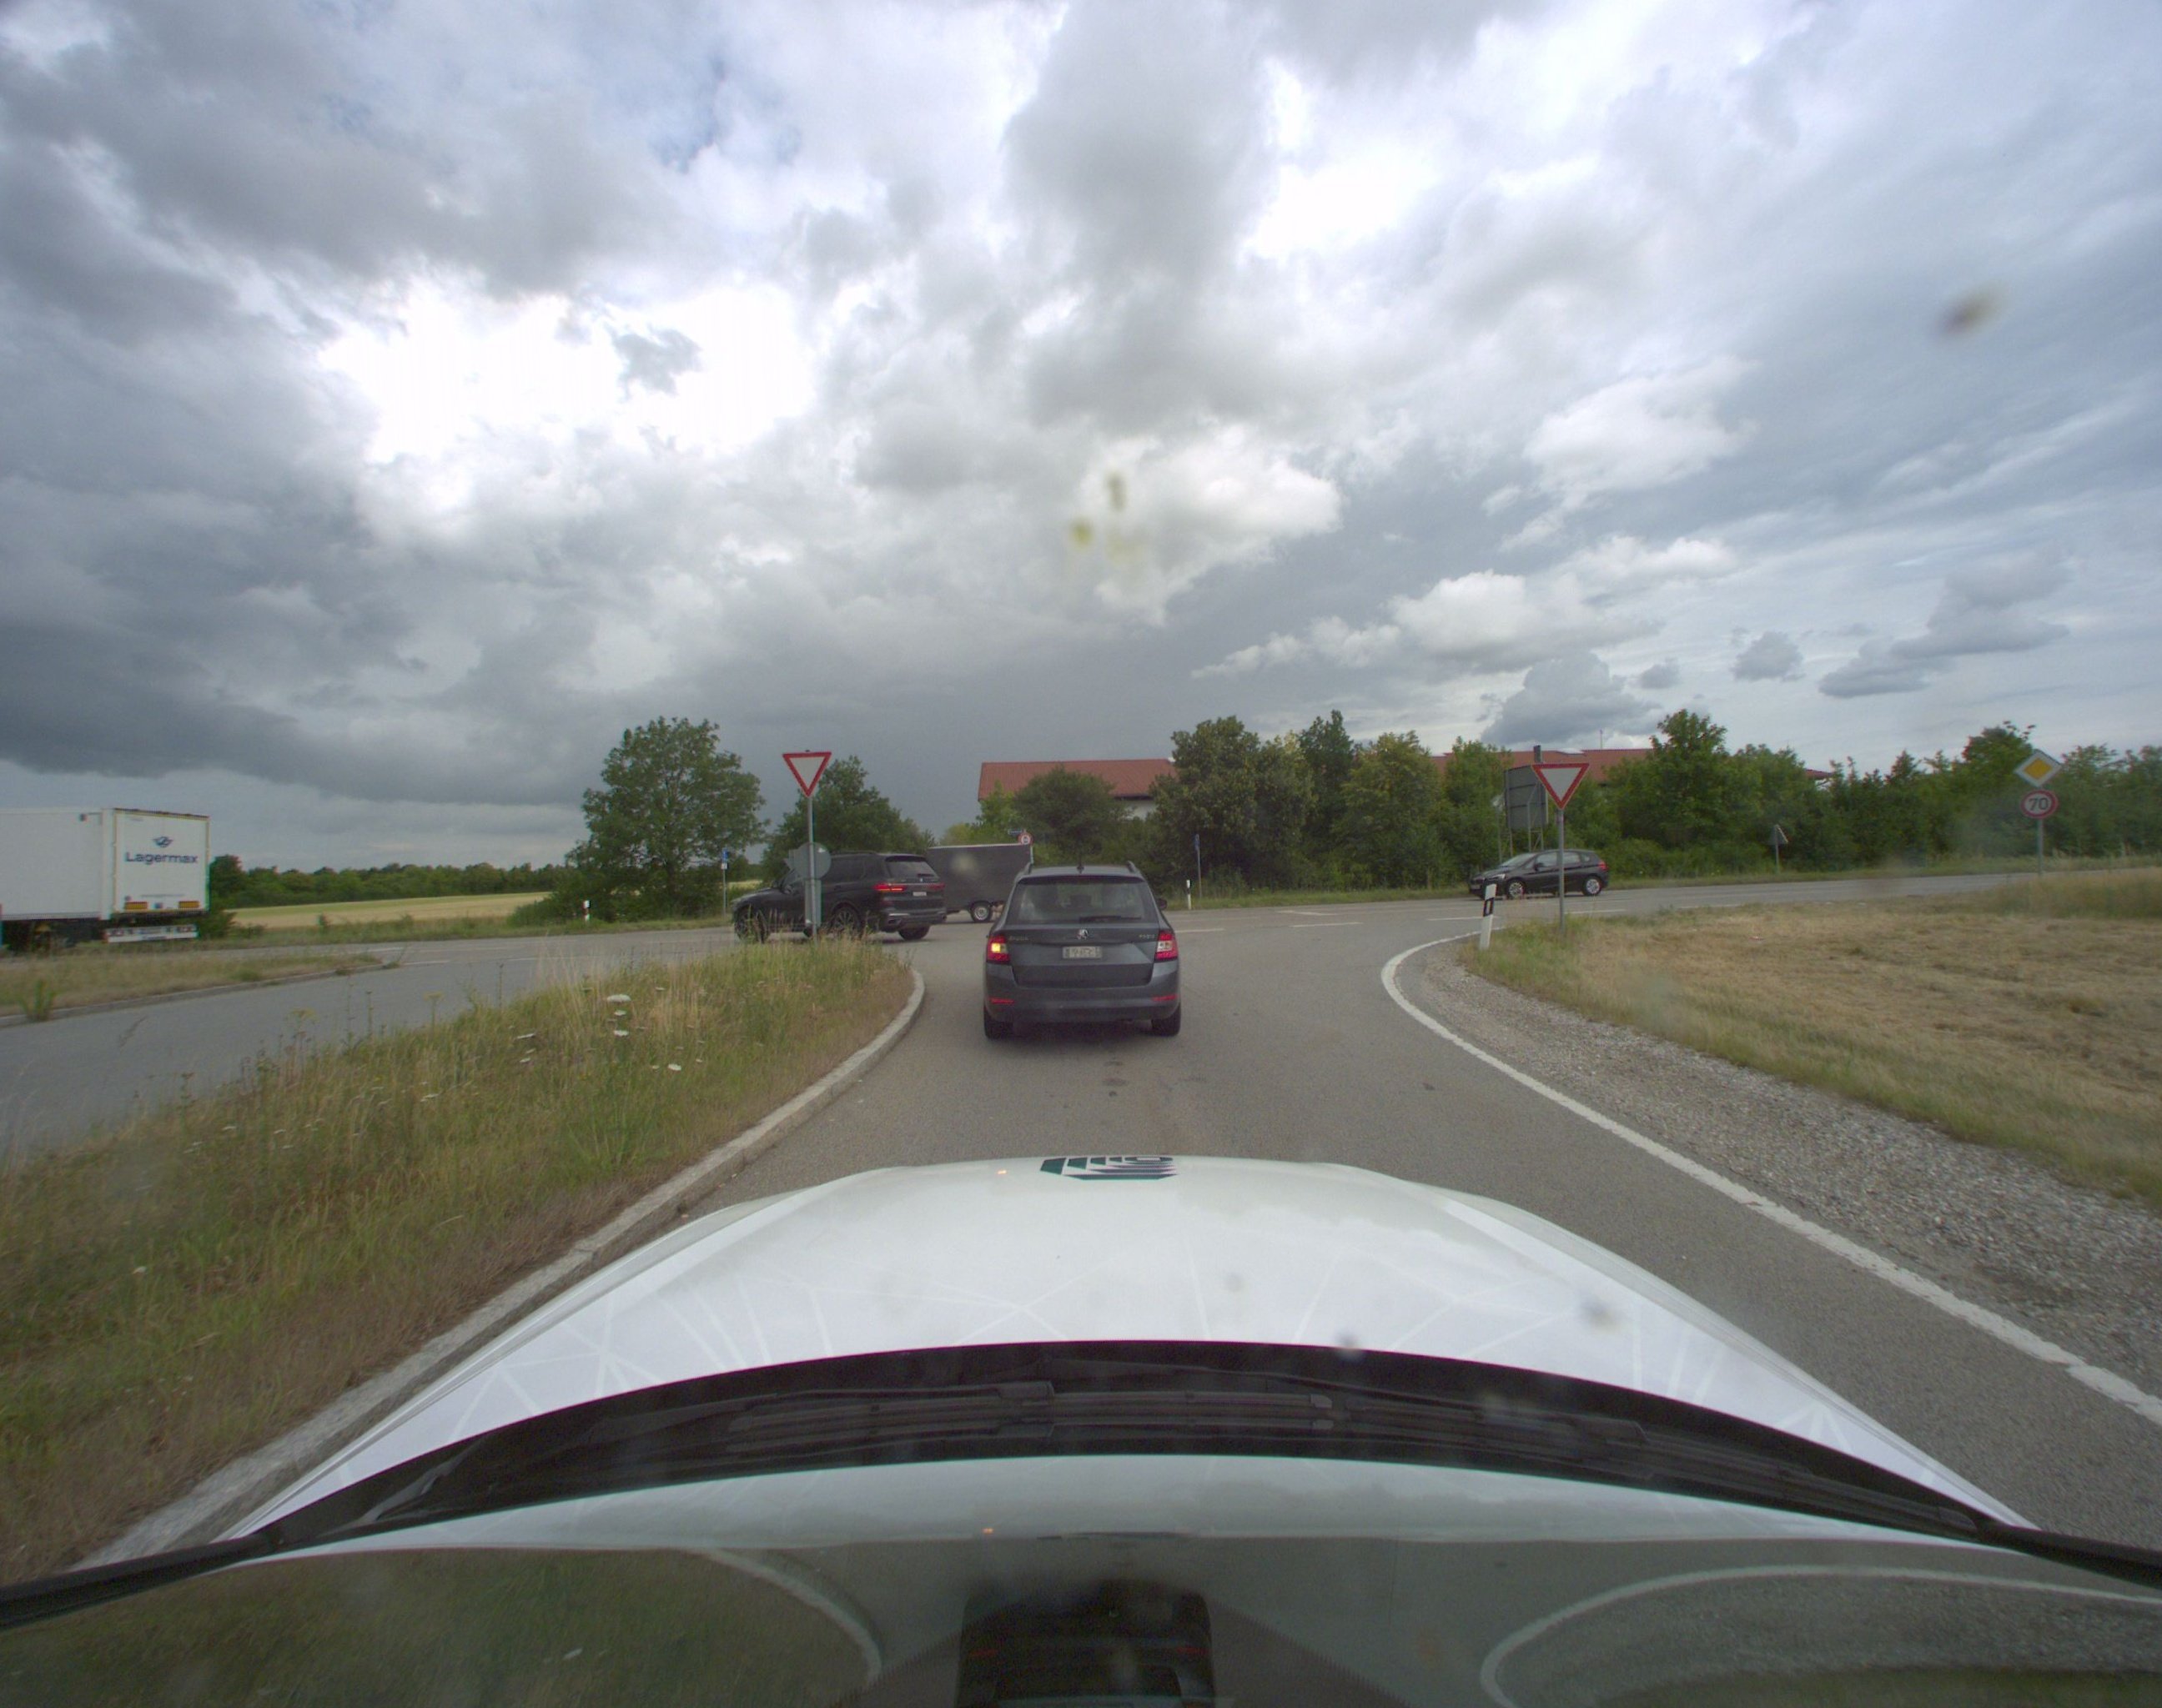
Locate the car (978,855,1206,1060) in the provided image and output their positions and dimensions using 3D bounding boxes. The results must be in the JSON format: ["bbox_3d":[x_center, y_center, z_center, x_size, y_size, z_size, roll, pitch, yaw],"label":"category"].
[{"bbox_3d":[-0.055,0.785,7.874,1.673,1.463,3.701,-1,-1,-5],"label":"car"}]

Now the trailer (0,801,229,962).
[{"bbox_3d":[-31.911,0.951,21.748,13.825,4.015,3.121,-2,-2,-7],"label":"trailer"}]

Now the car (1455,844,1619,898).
[{"bbox_3d":[14.787,0.541,26.560,4.282,1.487,1.995,-3,-1,-7],"label":"car"}]

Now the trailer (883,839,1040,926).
[{"bbox_3d":[-3.564,0.832,24.636,4.379,2.292,2.410,-3,-2,-8],"label":"trailer"}]

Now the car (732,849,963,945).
[{"bbox_3d":[-4.943,0.886,17.064,4.584,1.774,2.013,-3,-1,31],"label":"car"}]

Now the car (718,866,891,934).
[{"bbox_3d":[-7.999,1.312,23.956,4.462,1.682,1.994,-3,-2,-9],"label":"car"}]
